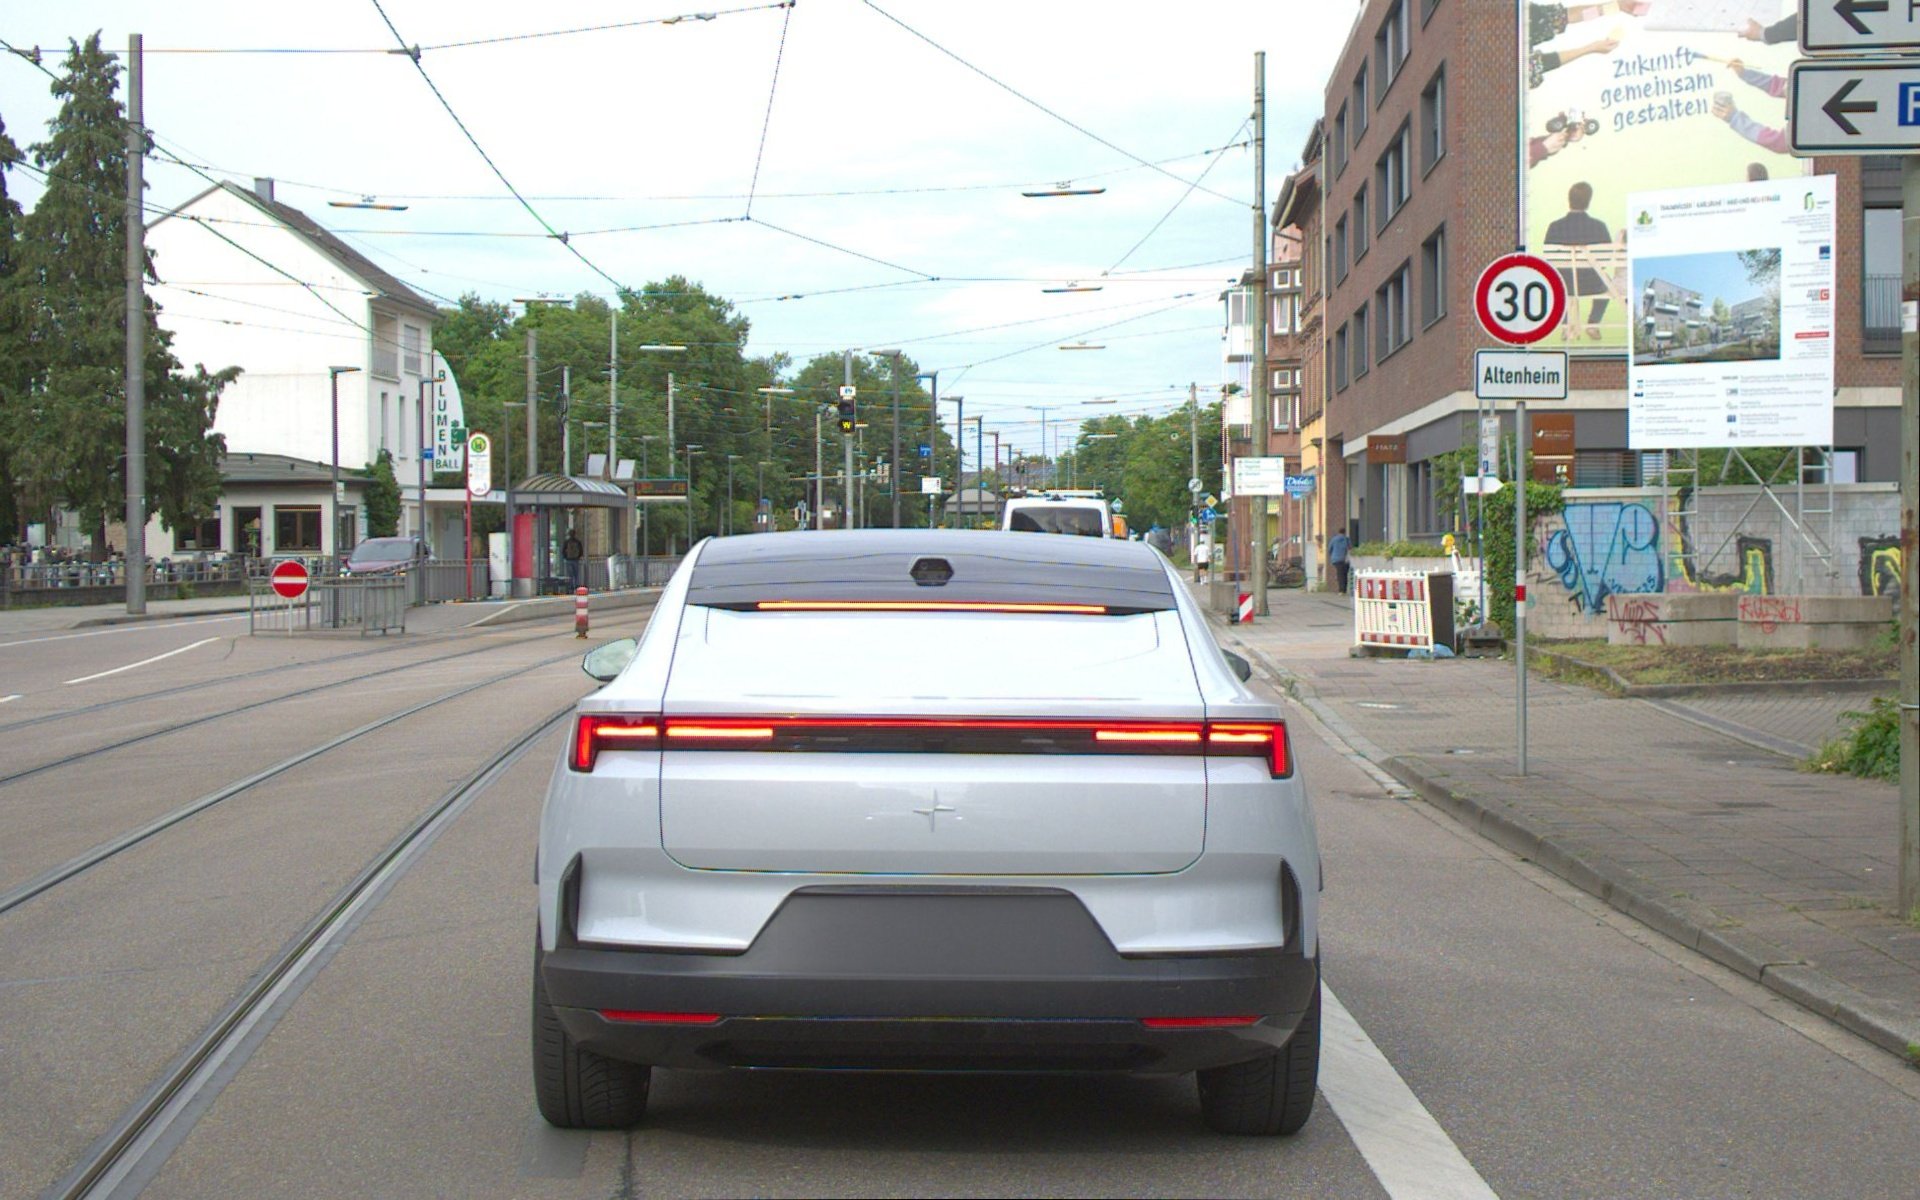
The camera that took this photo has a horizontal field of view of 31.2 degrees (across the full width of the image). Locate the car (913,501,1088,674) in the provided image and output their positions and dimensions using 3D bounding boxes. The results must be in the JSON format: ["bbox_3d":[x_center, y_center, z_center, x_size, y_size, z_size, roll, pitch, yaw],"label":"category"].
[{"bbox_3d":[0.455,-0.163,42.596,1.993,2.007,4.000,1,0,-1],"label":"car"}]

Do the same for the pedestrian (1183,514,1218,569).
[{"bbox_3d":[8.929,-2.165,127.666,1.219,2.007,0.934,-1,1,-1],"label":"pedestrian"}]

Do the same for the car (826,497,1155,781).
[{"bbox_3d":[0.121,0.236,23.539,1.968,1.750,3.838,1,0,-3],"label":"car"}]

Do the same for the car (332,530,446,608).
[{"bbox_3d":[-13.162,-0.712,79.447,1.744,1.735,4.000,1,0,3],"label":"car"}]

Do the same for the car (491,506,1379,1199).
[{"bbox_3d":[-0.217,0.545,9.861,1.981,1.544,4.184,1,1,-5],"label":"car"}]

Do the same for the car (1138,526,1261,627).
[{"bbox_3d":[4.498,-0.441,65.120,1.874,1.817,4.097,1,0,-2],"label":"car"}]

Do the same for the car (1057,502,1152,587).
[{"bbox_3d":[3.761,-1.434,90.391,2.139,2.138,4.744,1,0,-2],"label":"car"}]

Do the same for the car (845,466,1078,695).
[{"bbox_3d":[-0.052,-0.187,32.764,1.993,2.007,4.000,1,0,-3],"label":"car"}]

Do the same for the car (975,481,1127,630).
[{"bbox_3d":[1.501,-0.749,58.982,2.216,2.415,4.952,1,0,-2],"label":"car"}]
